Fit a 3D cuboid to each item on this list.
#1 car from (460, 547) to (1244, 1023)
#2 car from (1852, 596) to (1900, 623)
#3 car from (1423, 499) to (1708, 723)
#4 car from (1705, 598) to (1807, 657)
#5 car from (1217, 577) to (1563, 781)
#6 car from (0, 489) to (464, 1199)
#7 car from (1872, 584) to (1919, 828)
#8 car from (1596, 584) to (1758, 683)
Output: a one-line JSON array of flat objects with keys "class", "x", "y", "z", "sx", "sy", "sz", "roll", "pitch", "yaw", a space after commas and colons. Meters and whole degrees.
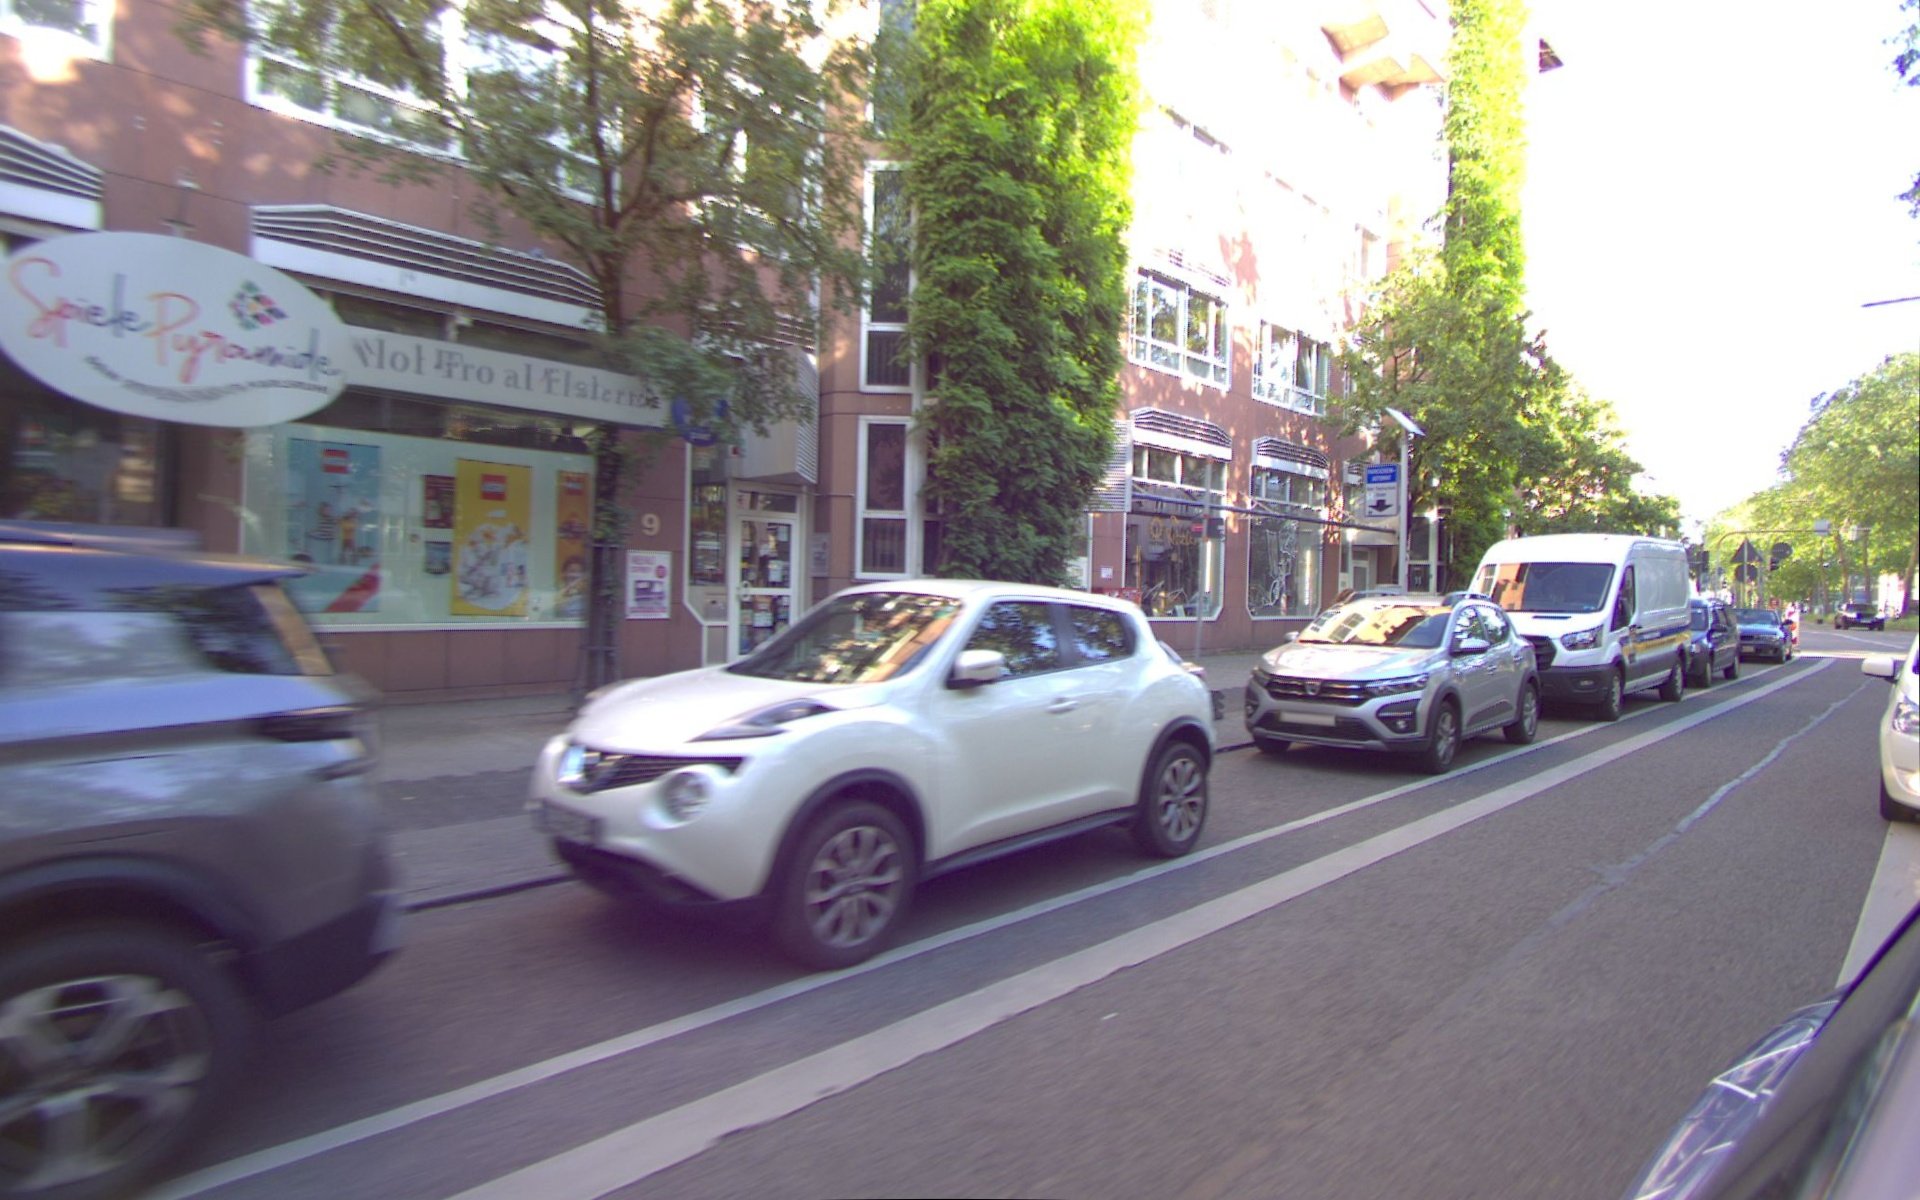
[{"class": "car", "x": -0.295, "y": 0.596, "z": 5.449, "sx": 1.829, "sy": 1.599, "sz": 3.935, "roll": 2, "pitch": 1, "yaw": 45}, {"class": "car", "x": 56.220, "y": 0.545, "z": 62.119, "sx": 1.994, "sy": 1.552, "sz": 3.936, "roll": -1, "pitch": 0, "yaw": 45}, {"class": "car", "x": 8.886, "y": 0.095, "z": 14.554, "sx": 5.808, "sy": 2.597, "sz": 2.116, "roll": 0, "pitch": 1, "yaw": -45}, {"class": "car", "x": 20.484, "y": 0.651, "z": 26.002, "sx": 1.803, "sy": 1.347, "sz": 3.931, "roll": 2, "pitch": 1, "yaw": 42}, {"class": "car", "x": 4.396, "y": 0.604, "z": 10.049, "sx": 1.829, "sy": 1.599, "sz": 3.935, "roll": 2, "pitch": 1, "yaw": 45}, {"class": "car", "x": -3.600, "y": 0.584, "z": 2.007, "sx": 1.788, "sy": 1.691, "sz": 4.368, "roll": 1, "pitch": 1, "yaw": 45}, {"class": "car", "x": 7.876, "y": 0.671, "z": 7.366, "sx": 1.803, "sy": 1.519, "sz": 4.137, "roll": 1, "pitch": 1, "yaw": 42}, {"class": "car", "x": 13.699, "y": 0.549, "z": 19.232, "sx": 1.804, "sy": 1.647, "sz": 4.403, "roll": 2, "pitch": 1, "yaw": 45}]
